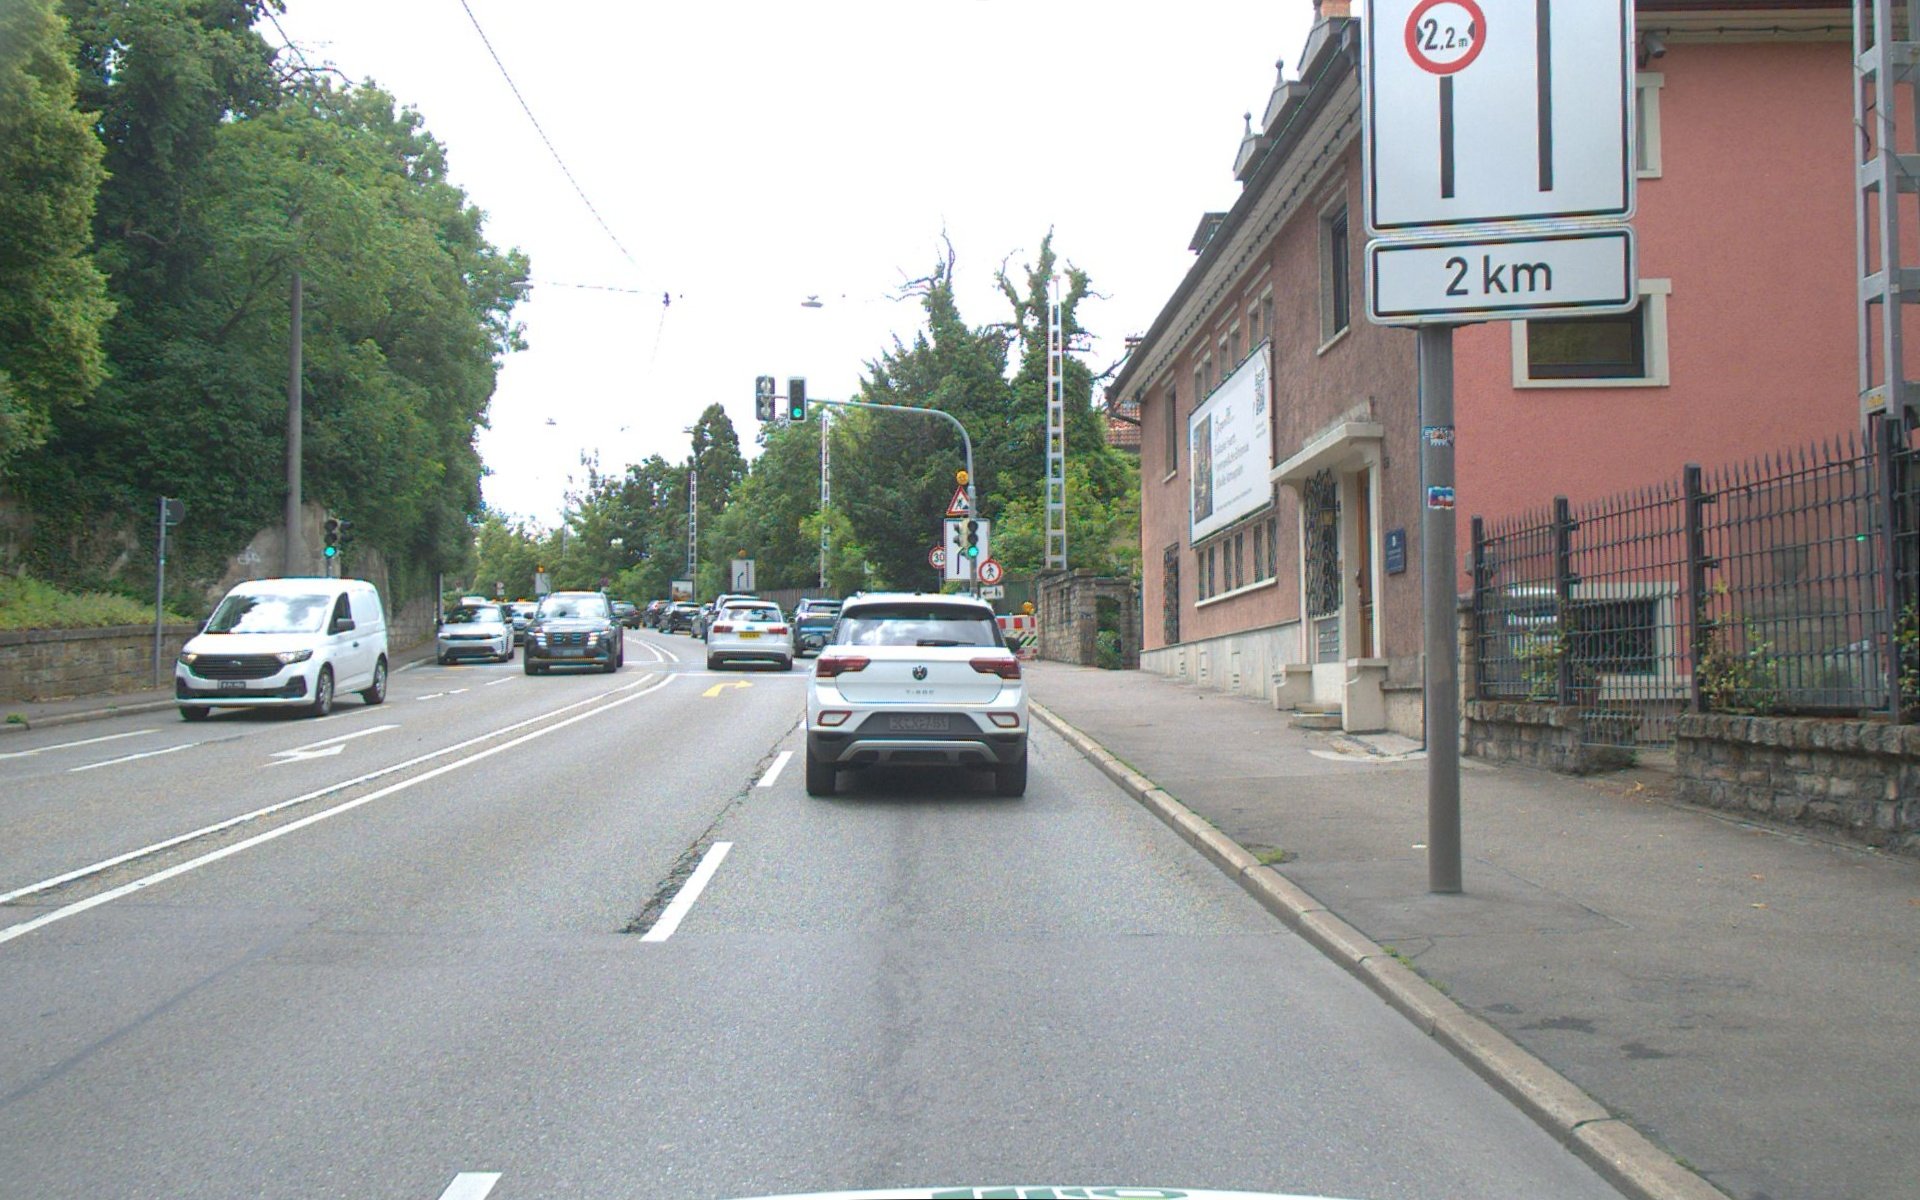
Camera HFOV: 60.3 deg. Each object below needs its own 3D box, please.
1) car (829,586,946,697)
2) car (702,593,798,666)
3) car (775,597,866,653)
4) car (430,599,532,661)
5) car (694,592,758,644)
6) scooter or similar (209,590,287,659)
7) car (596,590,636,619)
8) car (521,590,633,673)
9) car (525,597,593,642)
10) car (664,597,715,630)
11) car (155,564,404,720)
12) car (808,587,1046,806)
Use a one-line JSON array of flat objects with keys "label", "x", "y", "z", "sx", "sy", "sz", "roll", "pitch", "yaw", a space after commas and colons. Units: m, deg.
[{"label": "car", "x": -1.215, "y": 0.649, "z": 26.945, "sx": 1.723, "sy": 1.638, "sz": 3.792, "roll": 2, "pitch": -1, "yaw": -4}, {"label": "car", "x": -4.683, "y": 0.633, "z": 36.487, "sx": 1.727, "sy": 1.497, "sz": 3.783, "roll": 2, "pitch": -1, "yaw": -13}, {"label": "car", "x": -3.838, "y": 0.675, "z": 44.931, "sx": 1.958, "sy": 1.439, "sz": 4.138, "roll": 0, "pitch": -1, "yaw": -12}, {"label": "car", "x": -12.179, "y": 0.728, "z": 42.238, "sx": 1.682, "sy": 1.427, "sz": 4.020, "roll": -1, "pitch": 1, "yaw": -4}, {"label": "car", "x": -7.619, "y": 0.551, "z": 53.782, "sx": 1.956, "sy": 1.583, "sz": 4.143, "roll": 1, "pitch": 0, "yaw": -8}, {"label": "scooter or similar", "x": -14.827, "y": 0.512, "z": 34.471, "sx": 0.425, "sy": 1.259, "sz": 1.347, "roll": 4, "pitch": -5, "yaw": 31}, {"label": "car", "x": -18.476, "y": 0.237, "z": 88.732, "sx": 1.753, "sy": 1.480, "sz": 3.980, "roll": 1, "pitch": -1, "yaw": -17}, {"label": "car", "x": -8.103, "y": 0.617, "z": 35.348, "sx": 1.813, "sy": 1.661, "sz": 4.355, "roll": 0, "pitch": 0, "yaw": -6}, {"label": "car", "x": -13.740, "y": 0.640, "z": 56.818, "sx": 1.650, "sy": 1.443, "sz": 4.423, "roll": -1, "pitch": 1, "yaw": -6}, {"label": "car", "x": -12.746, "y": 0.636, "z": 77.759, "sx": 1.961, "sy": 1.475, "sz": 4.133, "roll": 0, "pitch": -1, "yaw": -15}, {"label": "car", "x": -9.200, "y": 0.538, "z": 22.779, "sx": 1.856, "sy": 1.880, "sz": 4.392, "roll": 2, "pitch": -1, "yaw": -5}, {"label": "car", "x": -0.413, "y": 0.734, "z": 14.092, "sx": 1.723, "sy": 1.583, "sz": 3.791, "roll": 2, "pitch": -1, "yaw": -5}]
